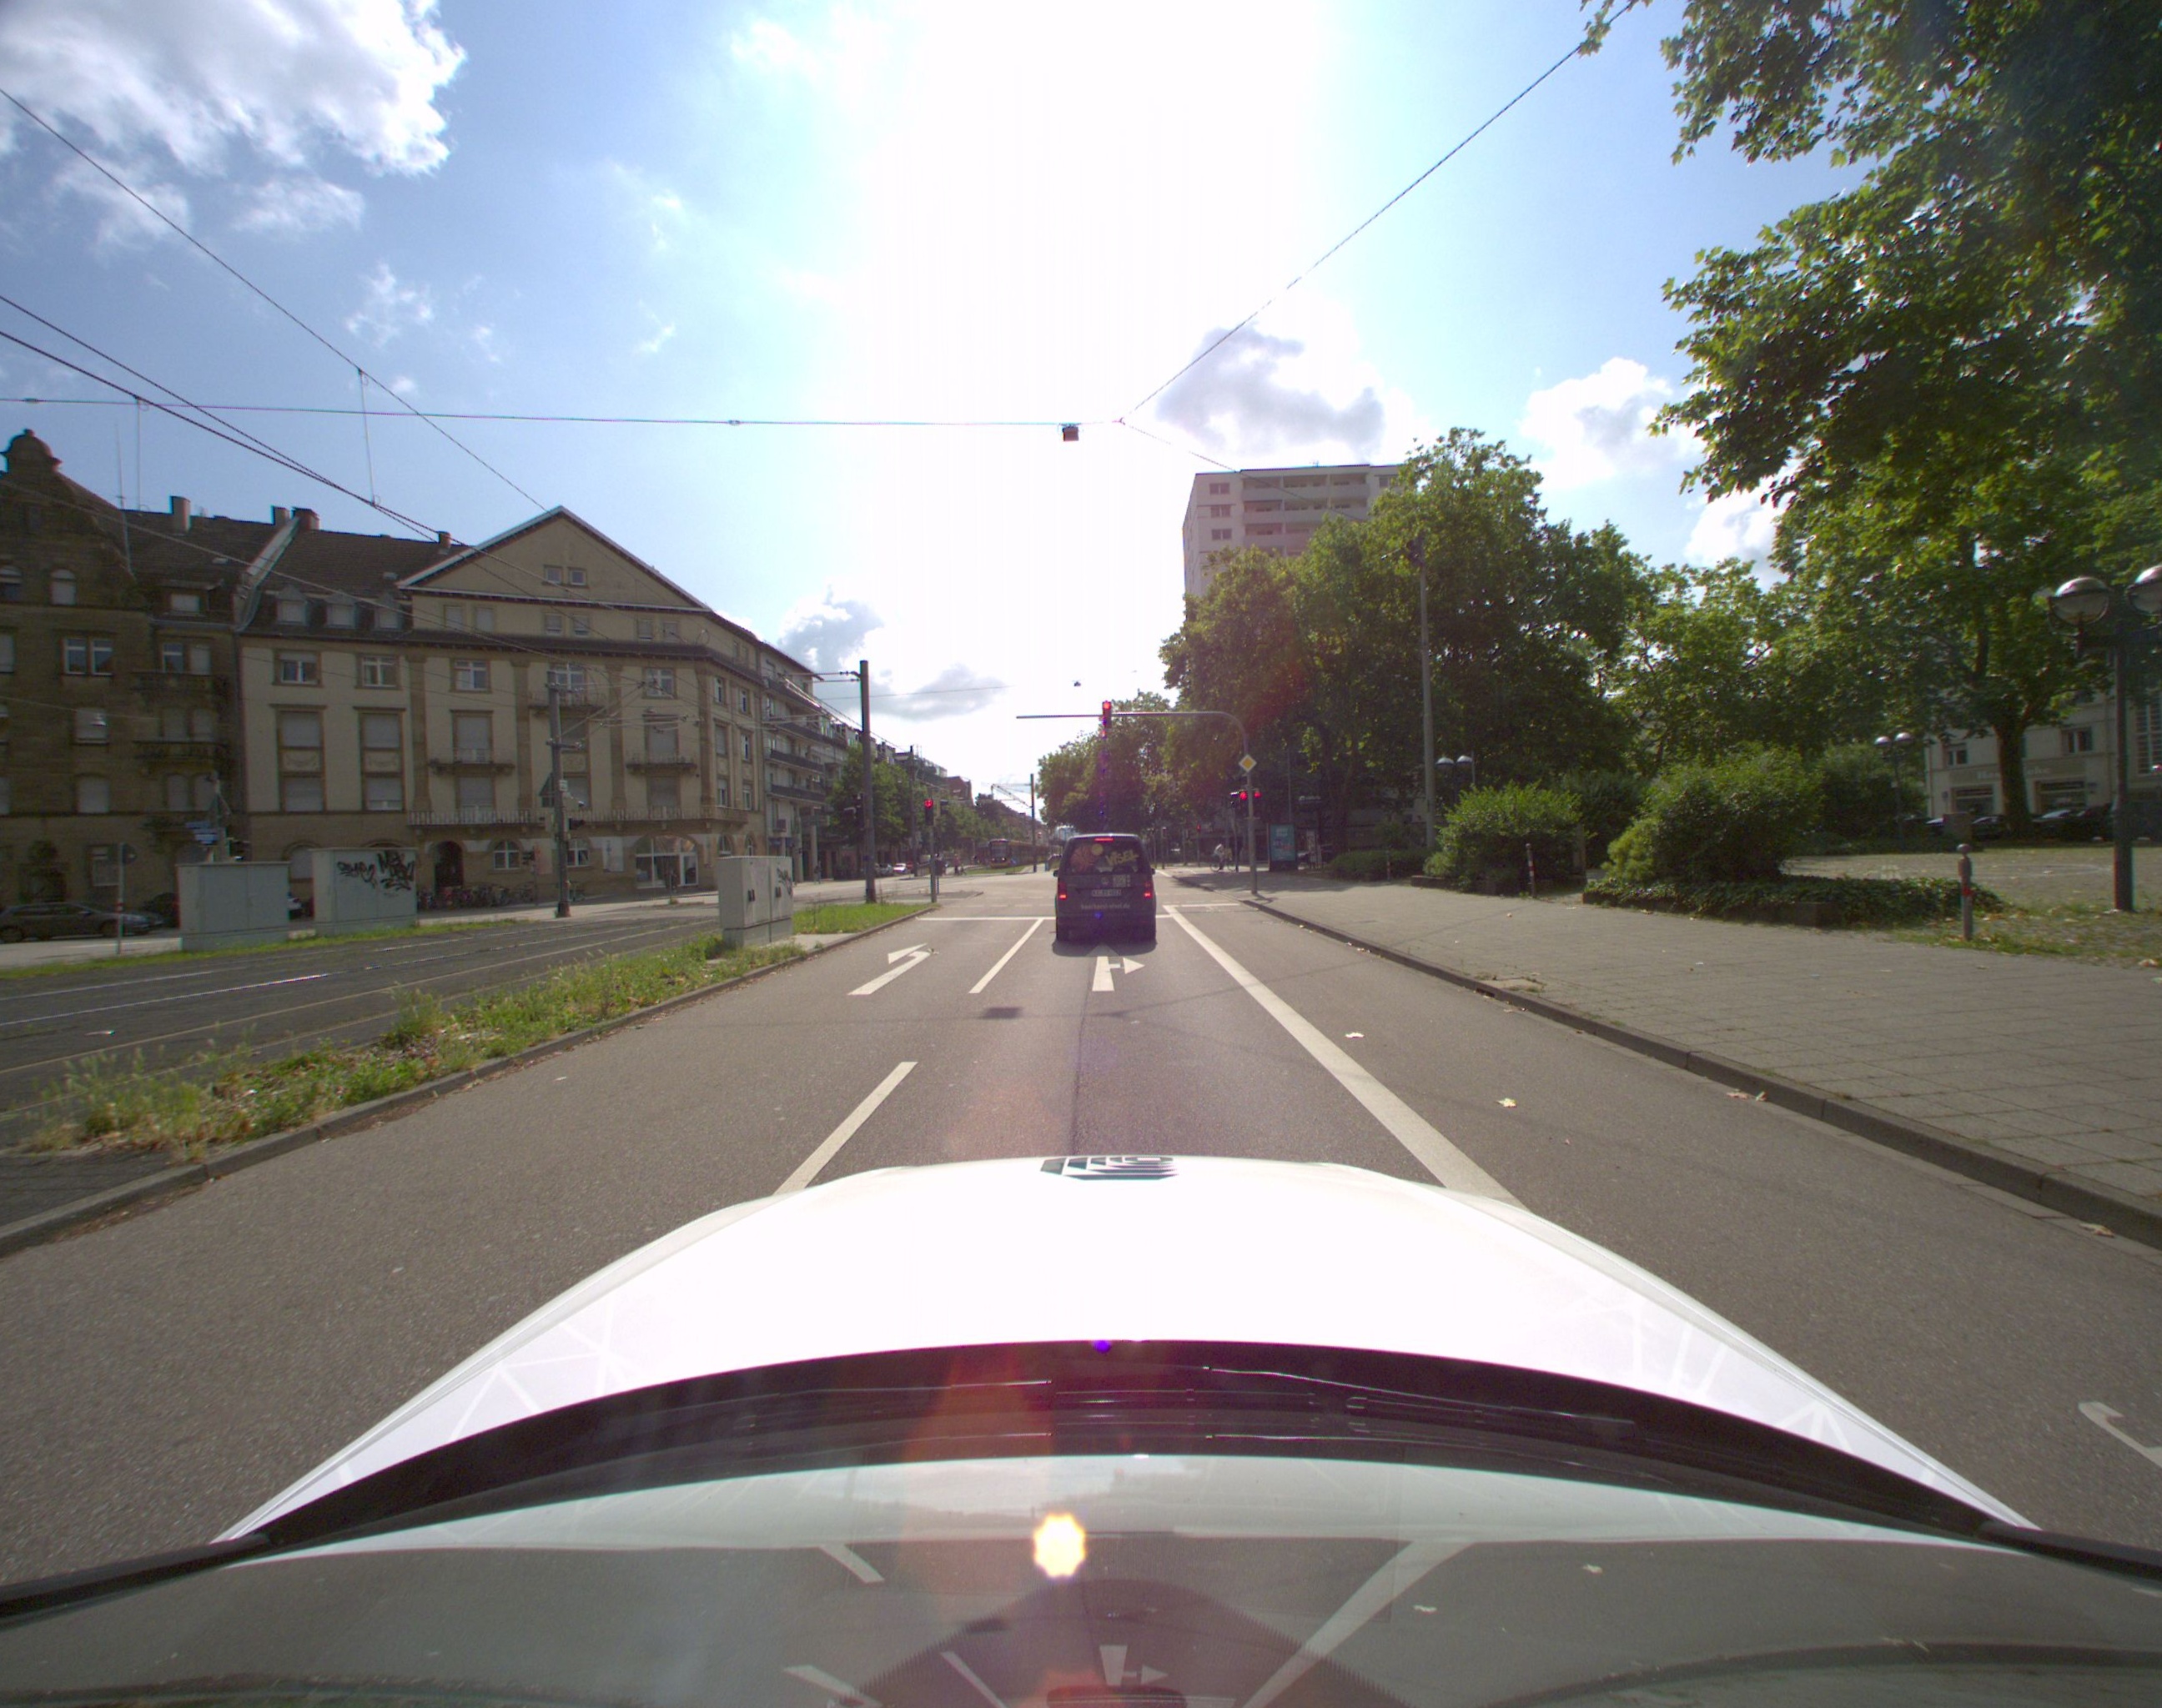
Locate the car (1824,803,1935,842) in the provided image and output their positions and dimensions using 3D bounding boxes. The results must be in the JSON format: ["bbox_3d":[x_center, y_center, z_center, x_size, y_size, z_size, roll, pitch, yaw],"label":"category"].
[{"bbox_3d":[47.009,-1.829,48.017,4.396,2.013,2.079,-3,0,2],"label":"car"}]

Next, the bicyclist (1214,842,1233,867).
[{"bbox_3d":[8.910,0.009,50.837,0.994,1.511,0.780,-3,0,0],"label":"bicyclist"}]

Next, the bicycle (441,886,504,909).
[{"bbox_3d":[-32.855,2.347,44.005,2.571,1.053,0.676,-3,0,-26],"label":"bicycle"}]

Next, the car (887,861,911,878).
[{"bbox_3d":[-23.374,1.938,104.645,1.986,2.013,4.002,-3,0,2],"label":"car"}]

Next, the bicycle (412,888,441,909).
[{"bbox_3d":[-36.013,2.428,44.816,0.744,1.053,2.343,-3,0,-27],"label":"bicycle"}]

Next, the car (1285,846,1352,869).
[{"bbox_3d":[17.073,0.258,58.464,4.499,1.390,1.694,-3,0,-22],"label":"car"}]

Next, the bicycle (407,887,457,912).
[{"bbox_3d":[-33.911,2.373,42.608,1.985,1.114,0.482,-3,0,-35],"label":"bicycle"}]

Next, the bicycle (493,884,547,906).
[{"bbox_3d":[-31.854,2.313,46.307,0.797,1.053,2.576,-3,0,14],"label":"bicycle"}]

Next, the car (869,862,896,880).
[{"bbox_3d":[-23.448,1.985,96.134,1.986,2.013,4.002,-3,0,2],"label":"car"}]

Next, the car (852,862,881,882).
[{"bbox_3d":[-24.001,2.018,91.419,1.986,2.013,4.002,-3,0,2],"label":"car"}]

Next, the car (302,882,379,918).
[{"bbox_3d":[-38.358,2.371,42.145,3.948,1.674,2.013,-3,0,34],"label":"car"}]

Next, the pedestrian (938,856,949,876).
[{"bbox_3d":[-11.472,0.986,68.023,0.657,1.685,0.656,-3,0,1],"label":"pedestrian"}]

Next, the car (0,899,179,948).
[{"bbox_3d":[-38.165,2.637,31.151,4.574,1.436,1.694,-3,0,-22],"label":"car"}]

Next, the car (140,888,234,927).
[{"bbox_3d":[-43.604,2.622,39.726,3.950,1.673,2.012,-3,0,26],"label":"car"}]

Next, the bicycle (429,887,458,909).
[{"bbox_3d":[-35.082,2.404,44.832,0.744,1.053,2.543,-3,0,-27],"label":"bicycle"}]

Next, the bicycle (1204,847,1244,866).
[{"bbox_3d":[8.902,0.159,50.807,2.293,1.048,0.897,-3,0,1],"label":"bicycle"}]

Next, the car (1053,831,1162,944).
[{"bbox_3d":[0.490,0.535,15.016,1.744,1.808,3.476,-1,0,2],"label":"car"}]

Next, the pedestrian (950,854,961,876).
[{"bbox_3d":[-10.113,0.869,65.544,0.657,1.784,0.661,-3,0,1],"label":"pedestrian"}]

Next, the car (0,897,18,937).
[{"bbox_3d":[-50.066,2.917,36.892,3.948,1.759,1.900,-3,0,32],"label":"car"}]

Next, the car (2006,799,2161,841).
[{"bbox_3d":[47.079,-1.571,38.193,4.661,1.706,2.194,-3,0,3],"label":"car"}]

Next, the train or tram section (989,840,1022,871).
[{"bbox_3d":[-8.914,0.119,97.659,2.232,3.331,12.977,-3,0,2],"label":"train or tram section"}]

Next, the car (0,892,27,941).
[{"bbox_3d":[-47.366,2.732,33.259,4.813,2.013,1.984,-3,0,-24],"label":"car"}]

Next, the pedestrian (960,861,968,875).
[{"bbox_3d":[-9.469,1.131,65.897,0.462,1.144,0.435,-3,0,1],"label":"pedestrian"}]

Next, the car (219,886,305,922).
[{"bbox_3d":[-41.364,2.520,41.121,3.950,1.639,1.813,-3,0,26],"label":"car"}]

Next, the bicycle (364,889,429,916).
[{"bbox_3d":[-36.290,2.565,43.182,3.283,1.253,1.003,-3,0,17],"label":"bicycle"}]

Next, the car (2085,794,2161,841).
[{"bbox_3d":[47.467,-1.656,35.418,4.661,1.930,2.194,-3,0,3],"label":"car"}]

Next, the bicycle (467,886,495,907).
[{"bbox_3d":[-33.562,2.365,45.571,0.808,1.053,2.543,-3,0,-27],"label":"bicycle"}]

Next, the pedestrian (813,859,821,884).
[{"bbox_3d":[-21.391,1.400,66.037,0.476,2.013,0.419,-3,0,-4],"label":"pedestrian"}]

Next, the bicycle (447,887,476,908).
[{"bbox_3d":[-34.328,2.385,45.174,0.808,1.053,2.543,-3,0,-27],"label":"bicycle"}]

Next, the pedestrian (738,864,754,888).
[{"bbox_3d":[-23.332,1.525,56.767,0.689,1.596,0.863,-3,0,3],"label":"pedestrian"}]
